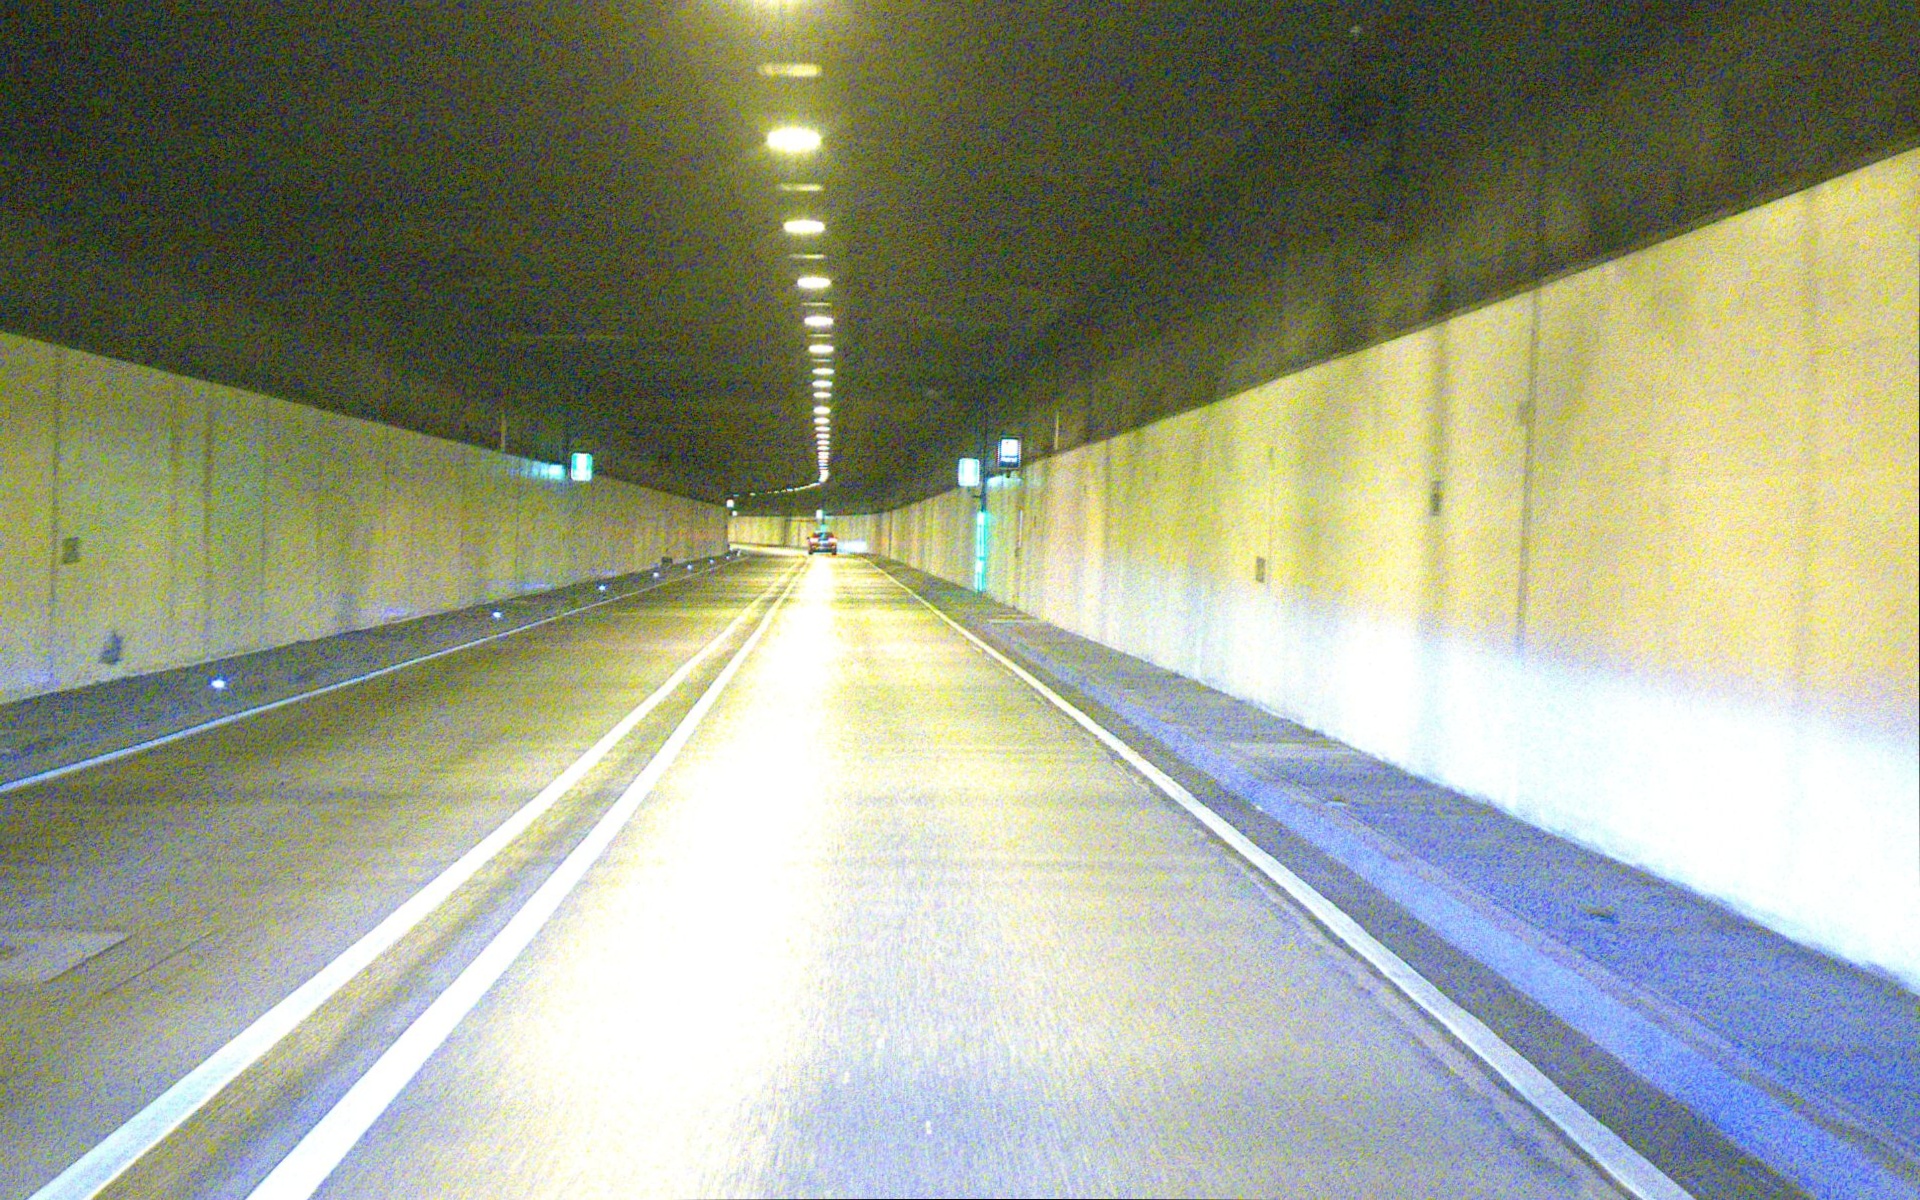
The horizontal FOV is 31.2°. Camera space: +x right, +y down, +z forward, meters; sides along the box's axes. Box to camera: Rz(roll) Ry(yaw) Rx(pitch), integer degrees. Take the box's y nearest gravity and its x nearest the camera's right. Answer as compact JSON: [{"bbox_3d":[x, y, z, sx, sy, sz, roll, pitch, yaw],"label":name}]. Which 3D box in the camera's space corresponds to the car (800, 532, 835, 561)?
[{"bbox_3d":[-9.537,-3.556,229.616,1.966,1.932,4.613,1,0,-7],"label":"car"}]
